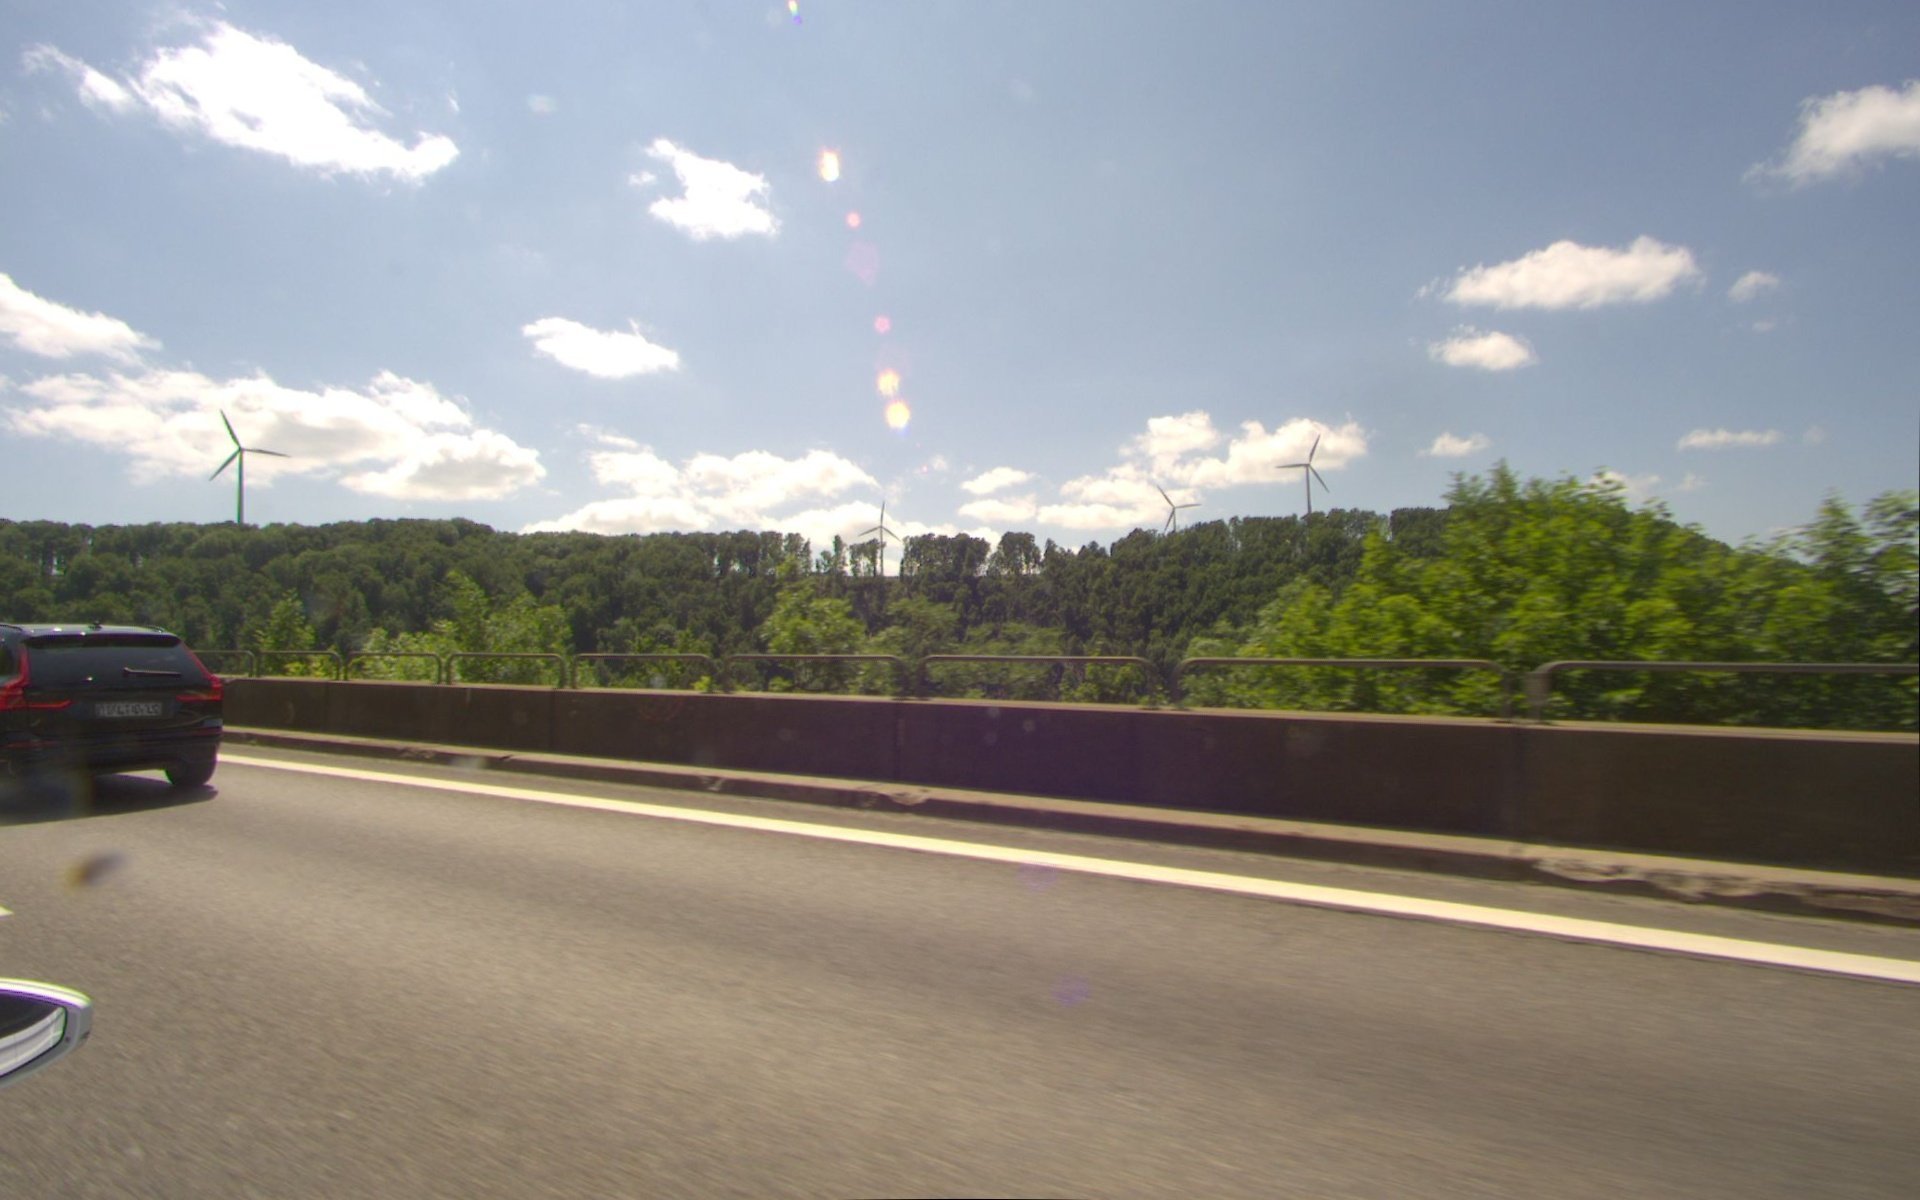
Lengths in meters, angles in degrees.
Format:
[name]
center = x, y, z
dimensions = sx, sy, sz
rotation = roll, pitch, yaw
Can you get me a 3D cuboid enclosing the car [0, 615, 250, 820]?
[car]
center = -9.256, 0.982, 10.037
dimensions = 4.594, 1.654, 1.832
rotation = 0, -1, 31
